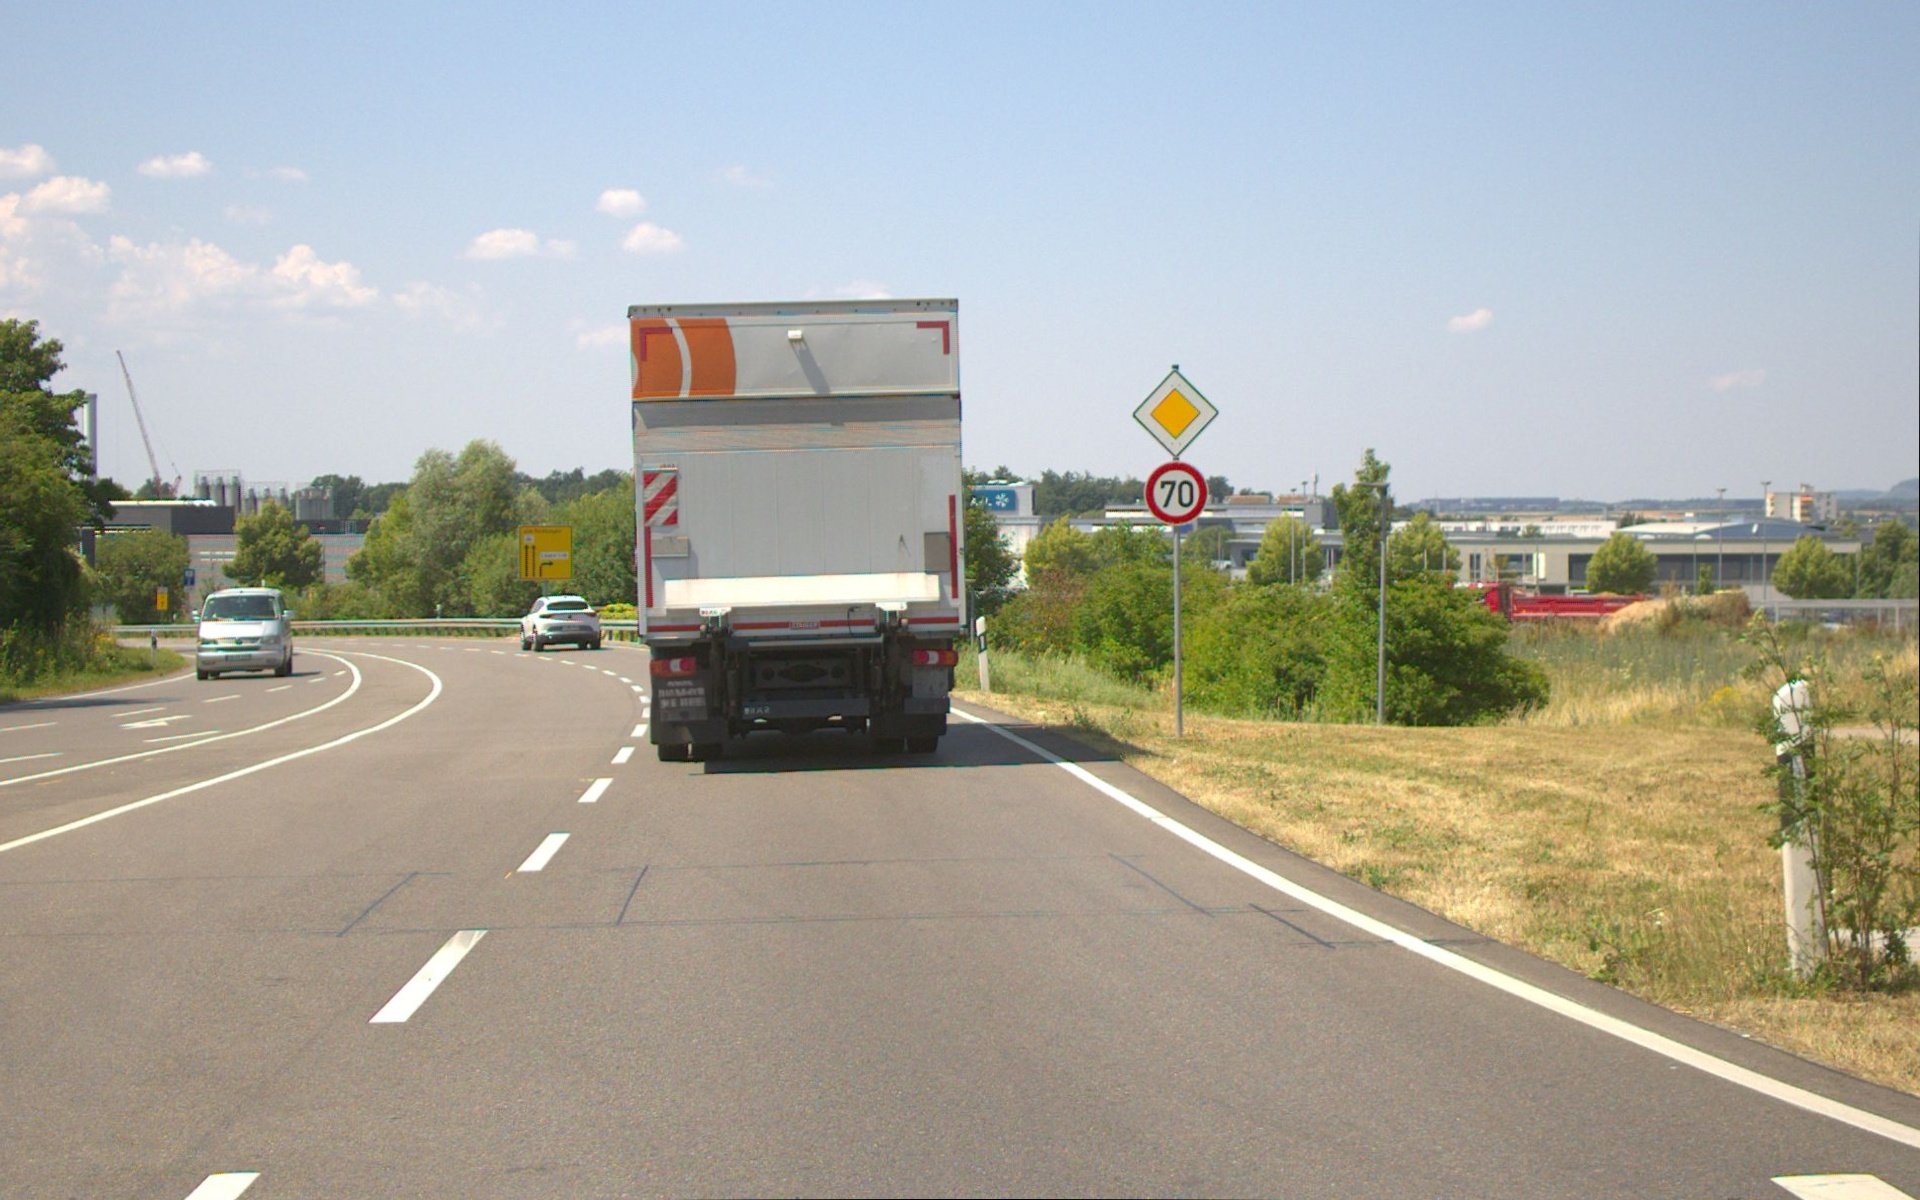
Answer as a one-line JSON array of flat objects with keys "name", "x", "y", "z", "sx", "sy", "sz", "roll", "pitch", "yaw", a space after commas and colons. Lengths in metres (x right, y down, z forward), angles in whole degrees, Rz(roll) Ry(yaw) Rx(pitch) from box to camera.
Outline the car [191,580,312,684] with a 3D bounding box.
[{"name": "car", "x": -15.234, "y": 0.652, "z": 74.129, "sx": 1.973, "sy": 2.007, "sz": 4.841, "roll": 1, "pitch": 1, "yaw": -5}]

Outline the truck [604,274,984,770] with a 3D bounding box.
[{"name": "truck", "x": -1.409, "y": -0.626, "z": 30.491, "sx": 2.803, "sy": 3.698, "sz": 9.108, "roll": -1, "pitch": 0, "yaw": -2}]

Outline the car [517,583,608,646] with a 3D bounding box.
[{"name": "car", "x": -11.071, "y": 0.416, "z": 95.585, "sx": 1.943, "sy": 1.659, "sz": 4.001, "roll": 1, "pitch": -1, "yaw": -15}]

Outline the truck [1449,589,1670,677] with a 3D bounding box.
[{"name": "truck", "x": 27.432, "y": 1.461, "z": 157.482, "sx": 9.401, "sy": 3.672, "sz": 3.127, "roll": 2, "pitch": 1, "yaw": 25}]
